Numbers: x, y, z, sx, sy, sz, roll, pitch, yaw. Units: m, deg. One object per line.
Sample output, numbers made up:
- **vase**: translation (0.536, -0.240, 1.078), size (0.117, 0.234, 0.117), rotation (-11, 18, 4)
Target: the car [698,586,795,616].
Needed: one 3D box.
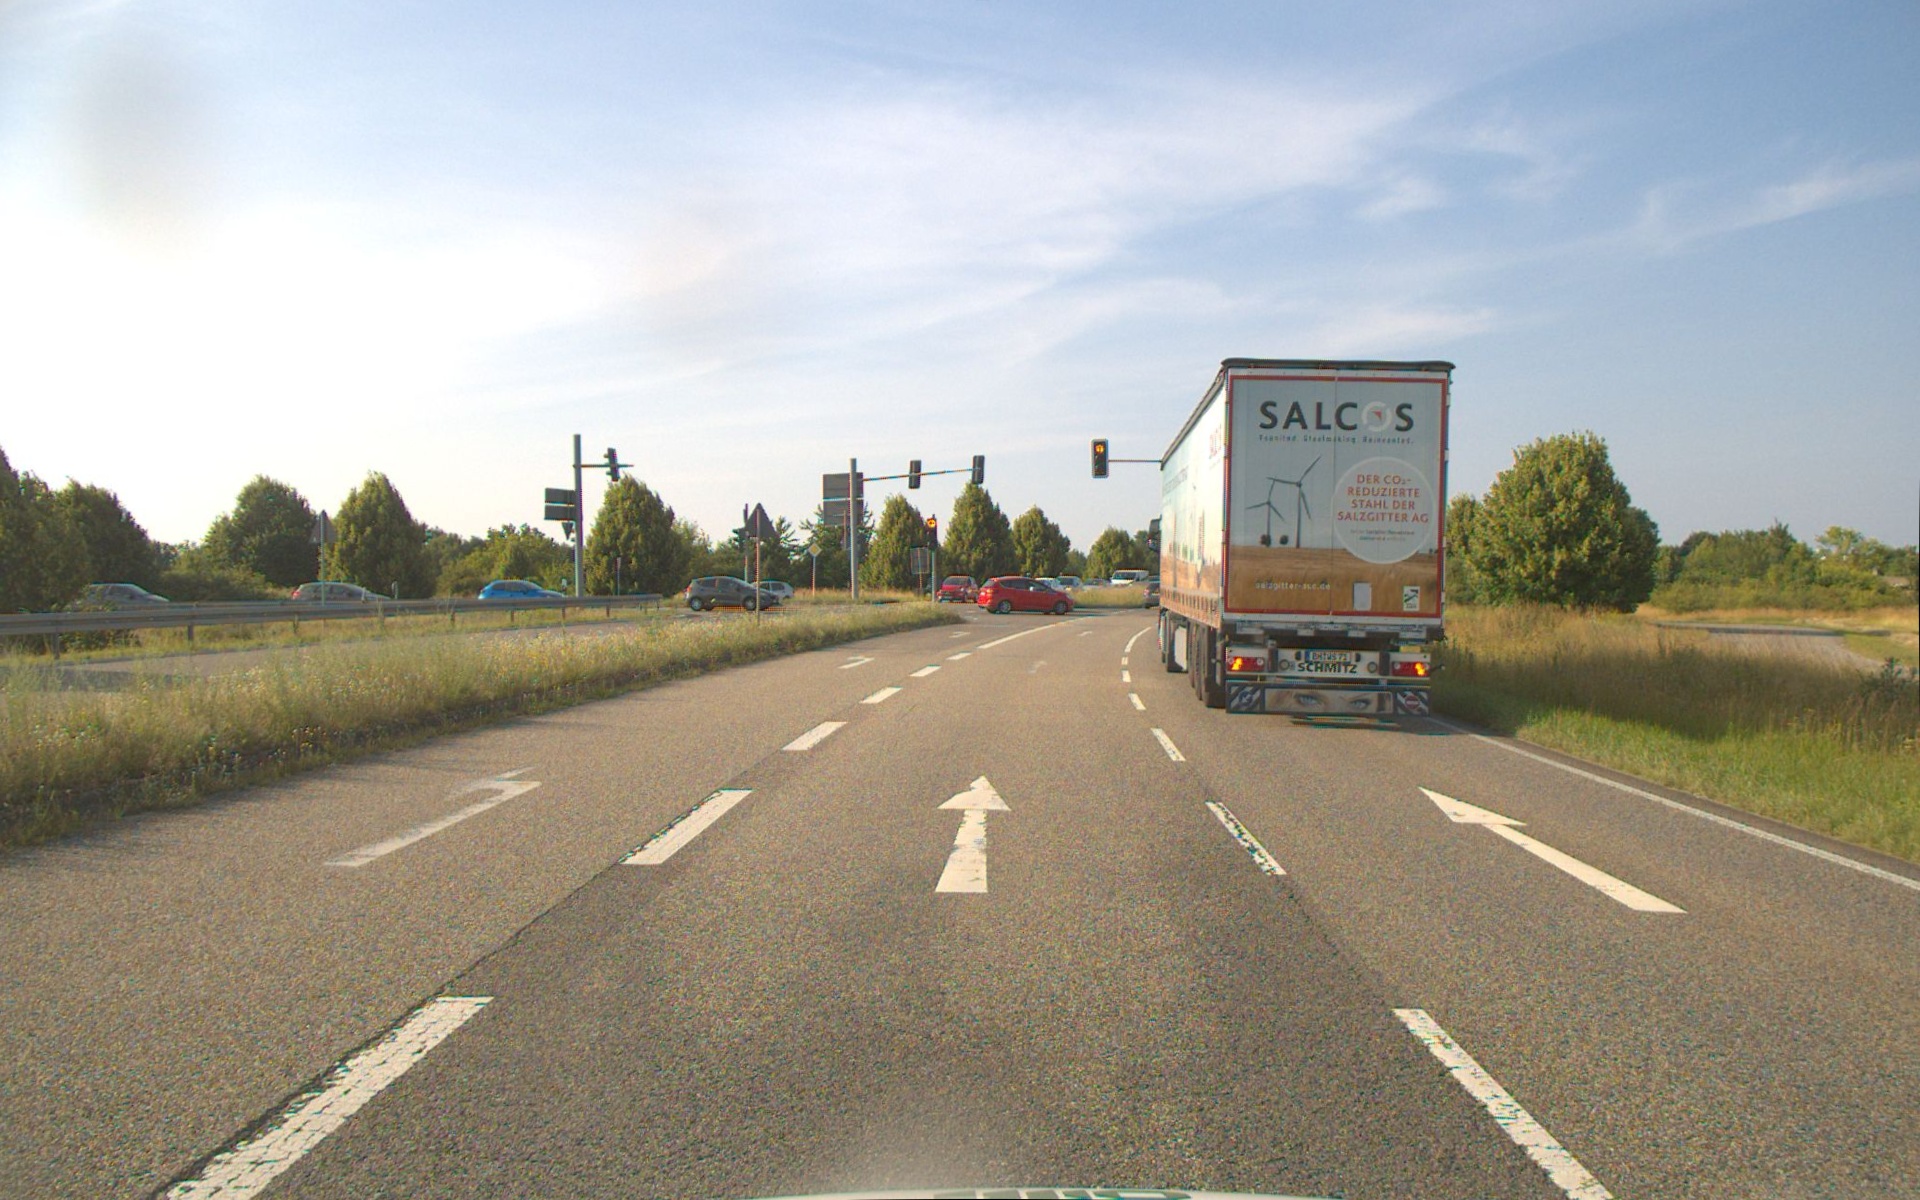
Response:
- **car**: translation (-10.172, 0.032, 78.970), size (4.173, 1.346, 1.916), rotation (1, -1, 13)

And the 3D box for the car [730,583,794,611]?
- **car**: translation (-10.968, -0.181, 91.629), size (3.145, 1.518, 1.763), rotation (0, 1, -27)

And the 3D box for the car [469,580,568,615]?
- **car**: translation (-19.739, -0.113, 74.014), size (3.887, 1.518, 1.780), rotation (1, 1, 12)

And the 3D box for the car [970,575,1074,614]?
- **car**: translation (2.715, -0.227, 72.922), size (4.196, 1.592, 1.892), rotation (1, -1, -17)

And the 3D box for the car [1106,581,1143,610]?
- **car**: translation (12.044, -0.331, 120.987), size (1.885, 2.114, 4.245), rotation (0, 0, 18)

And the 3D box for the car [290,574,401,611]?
- **car**: translation (-27.974, -0.338, 75.302), size (4.419, 1.593, 1.817), rotation (1, 0, 11)

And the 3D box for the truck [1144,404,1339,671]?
- **truck**: translation (5.352, -1.140, 32.469), size (3.230, 4.739, 5.735), rotation (1, 0, 5)

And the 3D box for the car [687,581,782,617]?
- **car**: translation (-9.785, -0.037, 71.845), size (3.703, 1.440, 1.922), rotation (1, -1, 6)

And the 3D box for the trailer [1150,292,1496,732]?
- **trailer**: translation (4.703, -1.042, 24.604), size (3.212, 4.762, 13.155), rotation (1, 1, 5)

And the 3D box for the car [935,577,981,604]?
- **car**: translation (-0.083, -0.557, 94.241), size (1.684, 1.514, 3.807), rotation (0, 1, 16)

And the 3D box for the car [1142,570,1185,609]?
- **car**: translation (11.016, -0.550, 89.452), size (1.868, 1.949, 4.281), rotation (1, -1, 12)
